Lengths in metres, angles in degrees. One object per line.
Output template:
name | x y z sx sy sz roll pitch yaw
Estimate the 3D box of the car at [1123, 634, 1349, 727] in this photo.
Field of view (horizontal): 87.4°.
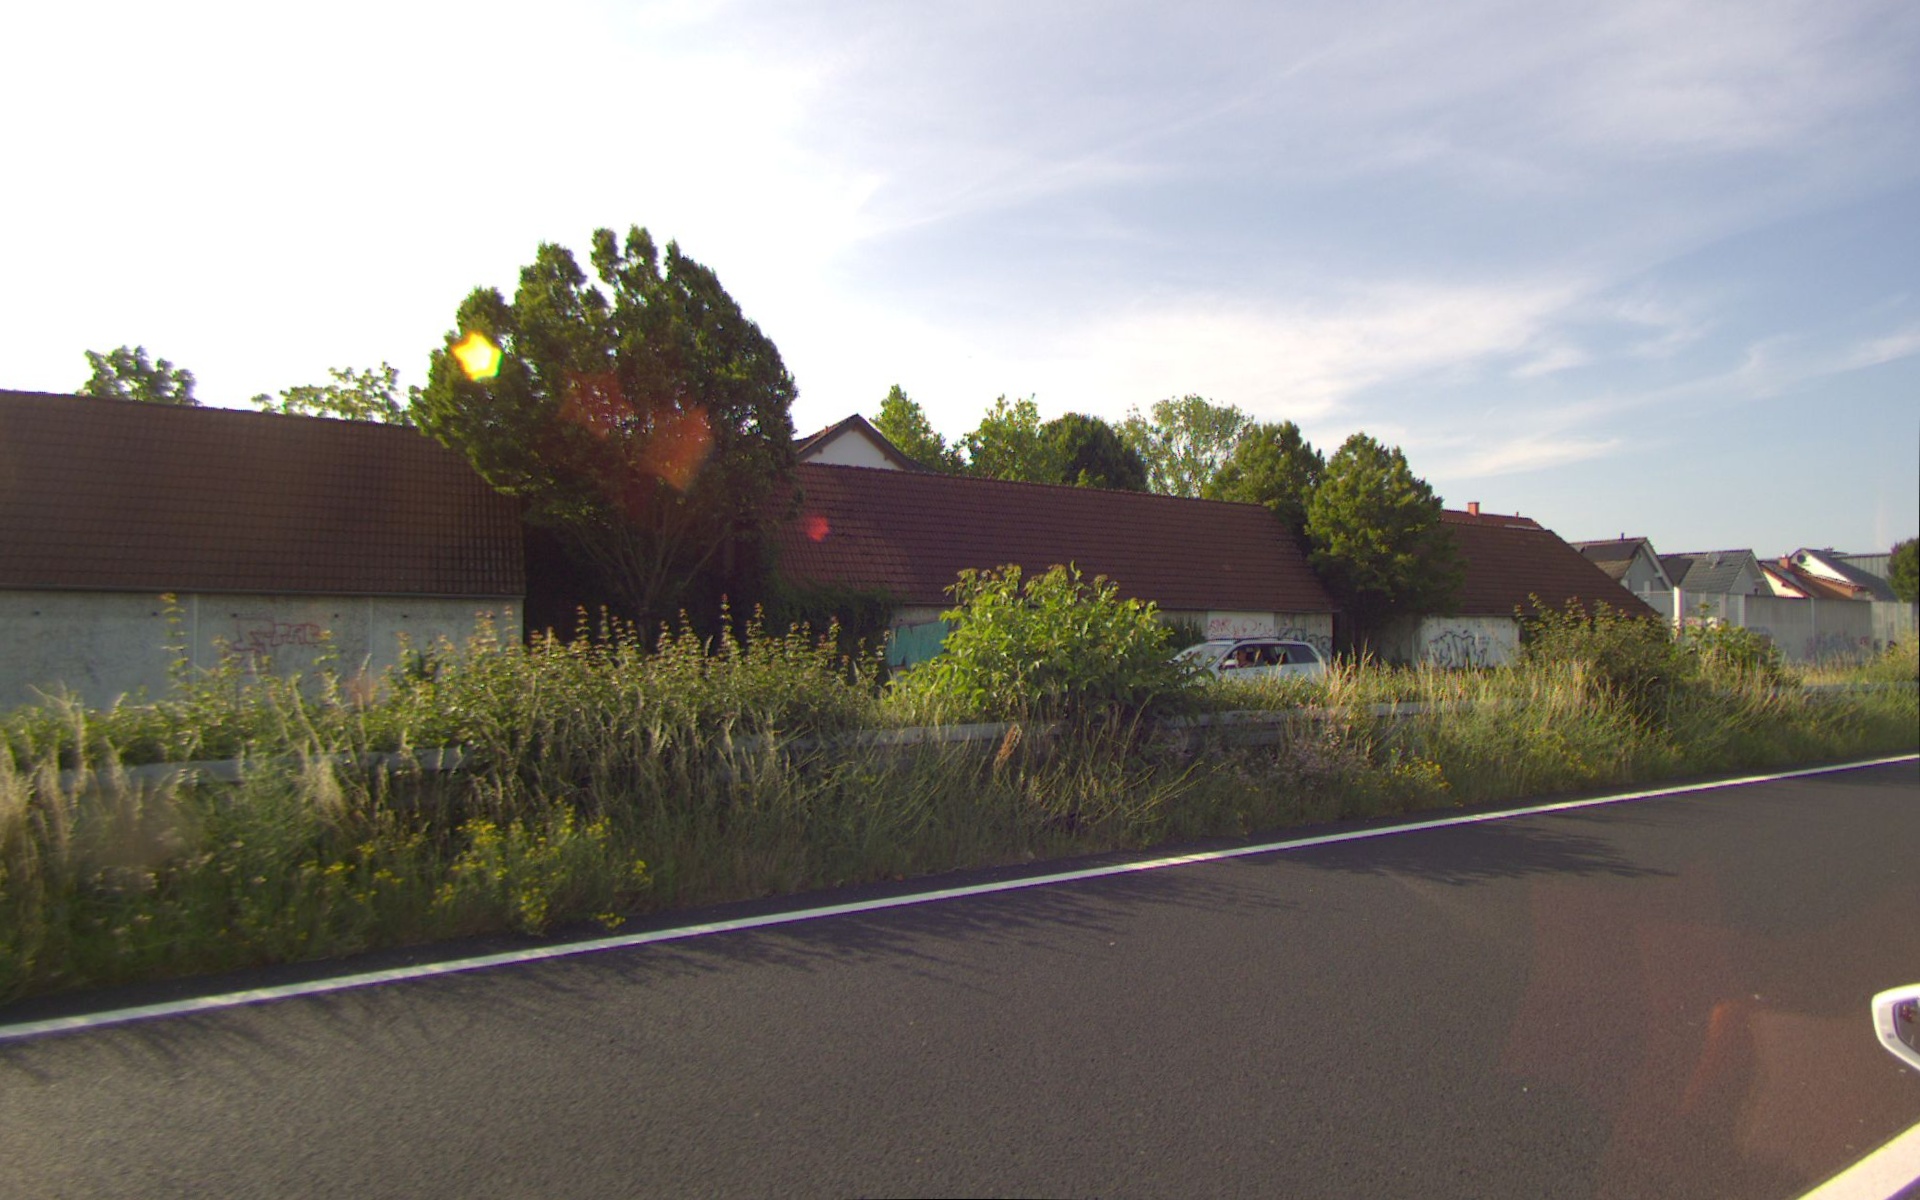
car | 5.227 1.454 18.889 4.137 1.528 1.681 2 0 -30
